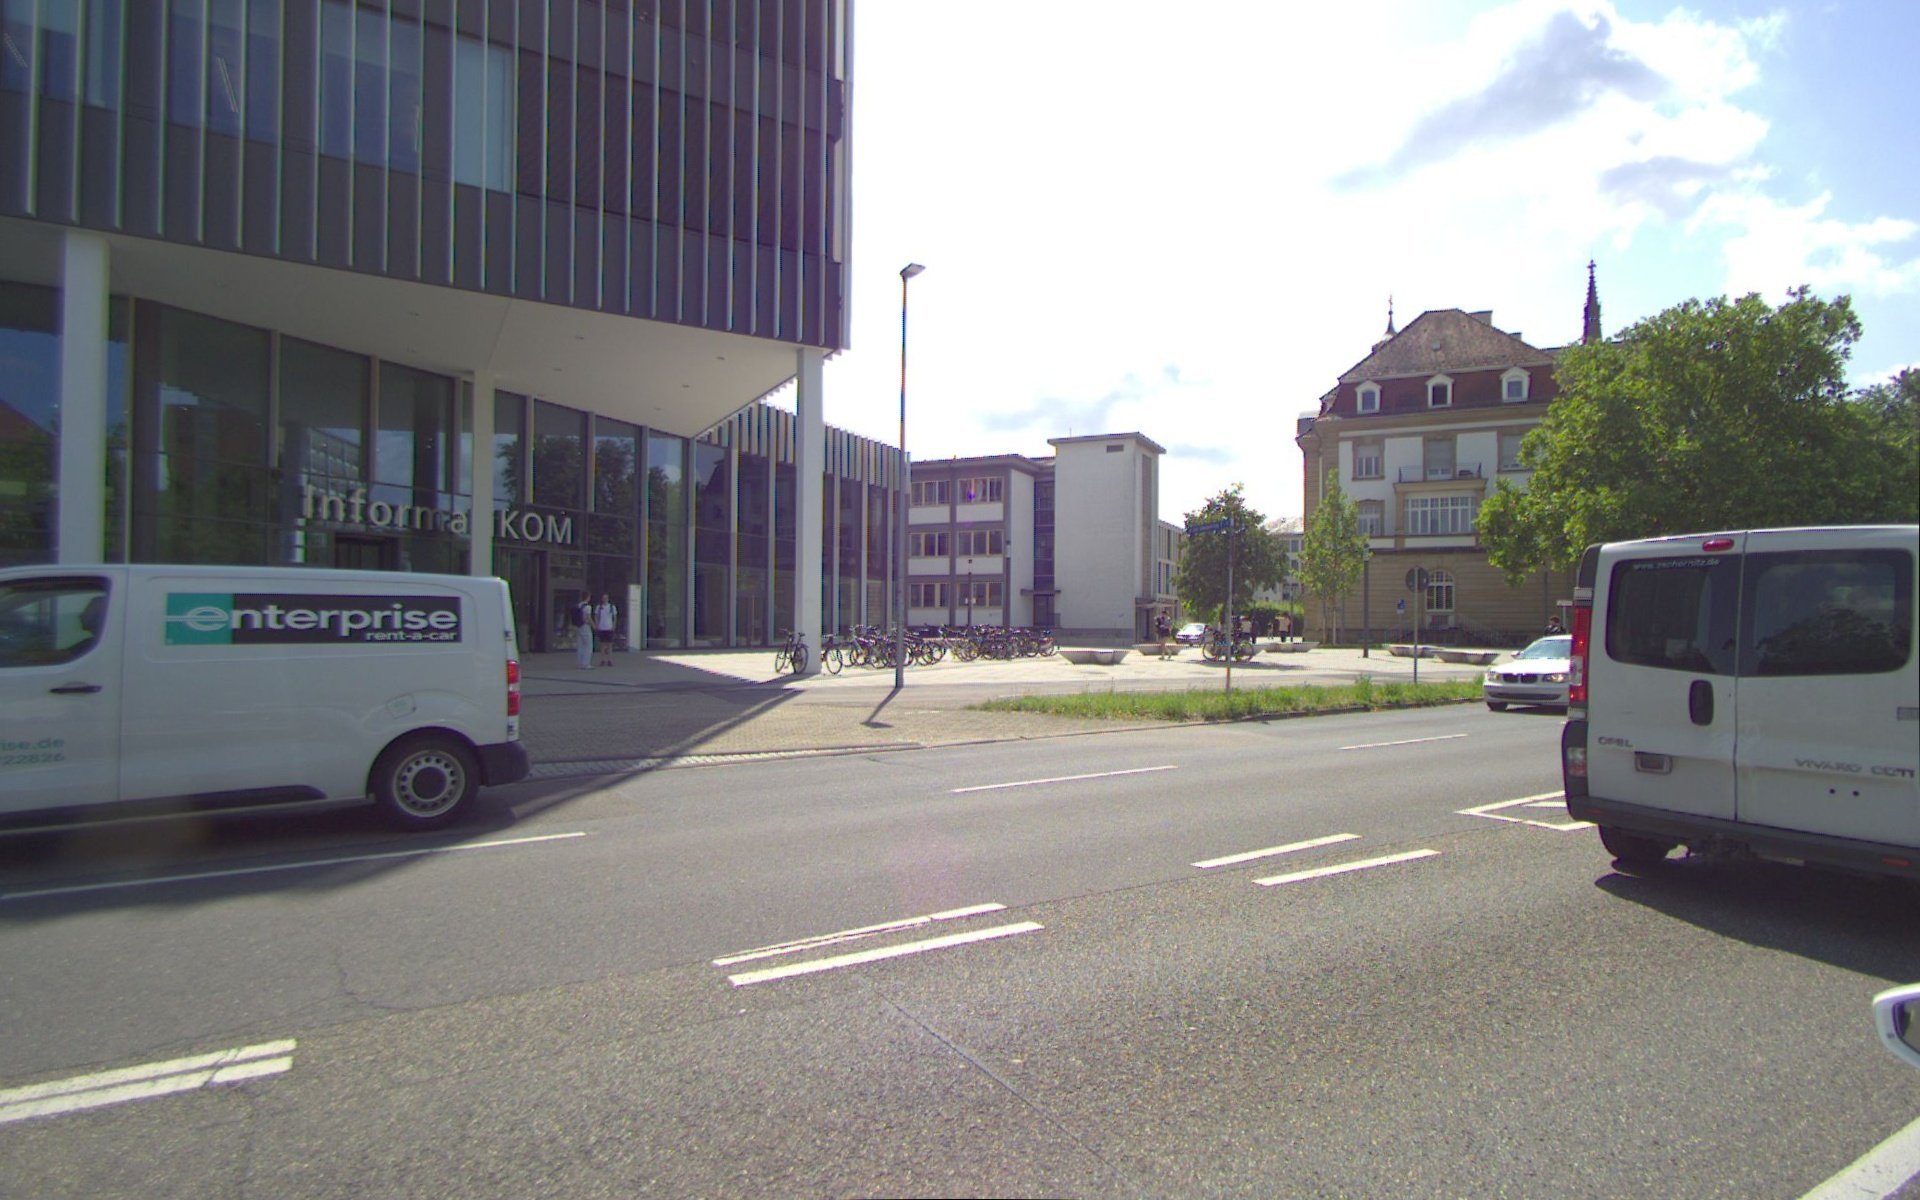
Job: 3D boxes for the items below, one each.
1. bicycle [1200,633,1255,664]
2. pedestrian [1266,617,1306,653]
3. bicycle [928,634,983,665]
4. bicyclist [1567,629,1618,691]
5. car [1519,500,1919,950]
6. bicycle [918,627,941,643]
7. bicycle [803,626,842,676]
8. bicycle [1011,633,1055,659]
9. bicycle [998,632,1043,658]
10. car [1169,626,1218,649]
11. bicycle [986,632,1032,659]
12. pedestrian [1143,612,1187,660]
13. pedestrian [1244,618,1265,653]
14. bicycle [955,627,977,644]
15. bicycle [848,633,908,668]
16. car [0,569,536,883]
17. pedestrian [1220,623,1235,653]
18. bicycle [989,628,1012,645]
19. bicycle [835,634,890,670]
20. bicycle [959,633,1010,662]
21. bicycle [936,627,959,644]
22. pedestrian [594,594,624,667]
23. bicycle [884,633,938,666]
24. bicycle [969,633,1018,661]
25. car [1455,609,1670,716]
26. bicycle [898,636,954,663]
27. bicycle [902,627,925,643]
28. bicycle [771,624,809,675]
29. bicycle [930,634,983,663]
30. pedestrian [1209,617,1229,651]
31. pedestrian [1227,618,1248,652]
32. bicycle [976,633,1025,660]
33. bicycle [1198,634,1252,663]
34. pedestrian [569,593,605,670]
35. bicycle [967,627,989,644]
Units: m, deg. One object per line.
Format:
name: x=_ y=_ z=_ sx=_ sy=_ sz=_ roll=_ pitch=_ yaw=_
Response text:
bicycle: x=9.034 y=1.636 z=34.010 sx=1.737 sy=0.968 sz=0.529 roll=1 pitch=-1 yaw=8
pedestrian: x=15.264 y=1.629 z=47.112 sx=1.279 sy=1.673 sz=1.321 roll=1 pitch=-1 yaw=-18
bicycle: x=-0.151 y=1.663 z=33.856 sx=1.738 sy=0.968 sz=0.529 roll=1 pitch=-1 yaw=17
bicyclist: x=17.352 y=1.634 z=27.560 sx=0.648 sy=1.637 sz=0.993 roll=1 pitch=-1 yaw=-25
car: x=6.039 y=0.603 z=6.446 sx=5.134 sy=1.981 sz=1.996 roll=1 pitch=-1 yaw=-31
bicycle: x=-1.905 y=2.213 z=62.634 sx=0.520 sy=0.968 sz=1.770 roll=2 pitch=-1 yaw=31
bicycle: x=-3.526 y=1.289 z=25.773 sx=0.369 sy=1.203 sz=1.533 roll=3 pitch=-1 yaw=-31
bicycle: x=2.953 y=1.858 z=40.565 sx=1.737 sy=0.968 sz=0.529 roll=1 pitch=-1 yaw=8
bicycle: x=2.372 y=1.769 z=39.338 sx=1.737 sy=0.968 sz=0.529 roll=1 pitch=-1 yaw=8
car: x=14.755 y=2.315 z=63.321 sx=1.963 sy=1.323 sz=4.488 roll=2 pitch=0 yaw=28
bicycle: x=1.894 y=1.749 z=38.672 sx=1.737 sy=0.968 sz=0.529 roll=1 pitch=-1 yaw=8
pedestrian: x=7.221 y=1.266 z=35.428 sx=1.003 sy=1.672 sz=1.173 roll=1 pitch=-2 yaw=-30
pedestrian: x=15.758 y=1.893 z=53.714 sx=0.849 sy=1.813 sz=0.843 roll=0 pitch=-1 yaw=-2
bicycle: x=0.377 y=2.185 z=61.443 sx=0.520 sy=0.968 sz=1.770 roll=2 pitch=-1 yaw=31
bicycle: x=-2.409 y=1.470 z=29.406 sx=1.739 sy=0.968 sz=0.373 roll=1 pitch=-1 yaw=21
car: x=-5.638 y=0.783 z=7.016 sx=4.682 sy=1.835 sz=1.887 roll=1 pitch=-3 yaw=-34
pedestrian: x=16.615 y=2.350 z=62.388 sx=0.667 sy=1.813 sz=0.840 roll=0 pitch=-1 yaw=37
bicycle: x=2.439 y=2.194 z=60.494 sx=0.520 sy=0.968 sz=1.768 roll=2 pitch=-1 yaw=34
bicycle: x=-2.774 y=1.455 z=28.531 sx=1.516 sy=0.968 sz=0.373 roll=1 pitch=-1 yaw=21
bicycle: x=0.878 y=1.709 z=36.212 sx=1.737 sy=0.968 sz=0.529 roll=1 pitch=-1 yaw=14
bicycle: x=-0.775 y=2.203 z=62.094 sx=0.520 sy=0.968 sz=1.770 roll=2 pitch=-1 yaw=31
pedestrian: x=-9.149 y=0.799 z=26.155 sx=0.668 sy=1.866 sz=0.687 roll=1 pitch=-1 yaw=-23
bicycle: x=-1.519 y=1.509 z=30.973 sx=1.747 sy=0.968 sz=0.526 roll=0 pitch=-1 yaw=40
bicycle: x=1.236 y=1.720 z=36.933 sx=1.737 sy=0.968 sz=0.529 roll=1 pitch=-1 yaw=14
car: x=11.587 y=1.159 z=19.216 sx=4.684 sy=1.835 sz=1.714 roll=2 pitch=-3 yaw=-35
bicycle: x=-1.071 y=1.547 z=31.652 sx=1.741 sy=0.774 sz=0.528 roll=1 pitch=-1 yaw=28
bicycle: x=-2.896 y=2.223 z=63.067 sx=0.520 sy=0.968 sz=1.770 roll=2 pitch=-1 yaw=31
bicycle: x=-4.329 y=1.251 z=25.571 sx=0.369 sy=1.203 sz=1.533 roll=3 pitch=-1 yaw=-31
bicycle: x=-0.120 y=1.667 z=34.628 sx=1.738 sy=0.968 sz=0.529 roll=1 pitch=-1 yaw=17
pedestrian: x=13.810 y=1.804 z=53.552 sx=0.798 sy=1.813 sz=0.843 roll=0 pitch=-1 yaw=-4
pedestrian: x=14.817 y=1.860 z=53.685 sx=0.875 sy=1.813 sz=0.843 roll=0 pitch=-1 yaw=-5
bicycle: x=1.507 y=1.732 z=37.655 sx=1.737 sy=0.968 sz=0.529 roll=1 pitch=-1 yaw=14
bicycle: x=9.119 y=1.667 z=34.599 sx=1.737 sy=0.968 sz=0.529 roll=1 pitch=-1 yaw=8
pedestrian: x=-9.215 y=0.770 z=24.838 sx=0.507 sy=1.866 sz=0.789 roll=1 pitch=-1 yaw=4
bicycle: x=1.090 y=2.149 z=60.744 sx=0.520 sy=0.968 sz=1.770 roll=2 pitch=-1 yaw=31
